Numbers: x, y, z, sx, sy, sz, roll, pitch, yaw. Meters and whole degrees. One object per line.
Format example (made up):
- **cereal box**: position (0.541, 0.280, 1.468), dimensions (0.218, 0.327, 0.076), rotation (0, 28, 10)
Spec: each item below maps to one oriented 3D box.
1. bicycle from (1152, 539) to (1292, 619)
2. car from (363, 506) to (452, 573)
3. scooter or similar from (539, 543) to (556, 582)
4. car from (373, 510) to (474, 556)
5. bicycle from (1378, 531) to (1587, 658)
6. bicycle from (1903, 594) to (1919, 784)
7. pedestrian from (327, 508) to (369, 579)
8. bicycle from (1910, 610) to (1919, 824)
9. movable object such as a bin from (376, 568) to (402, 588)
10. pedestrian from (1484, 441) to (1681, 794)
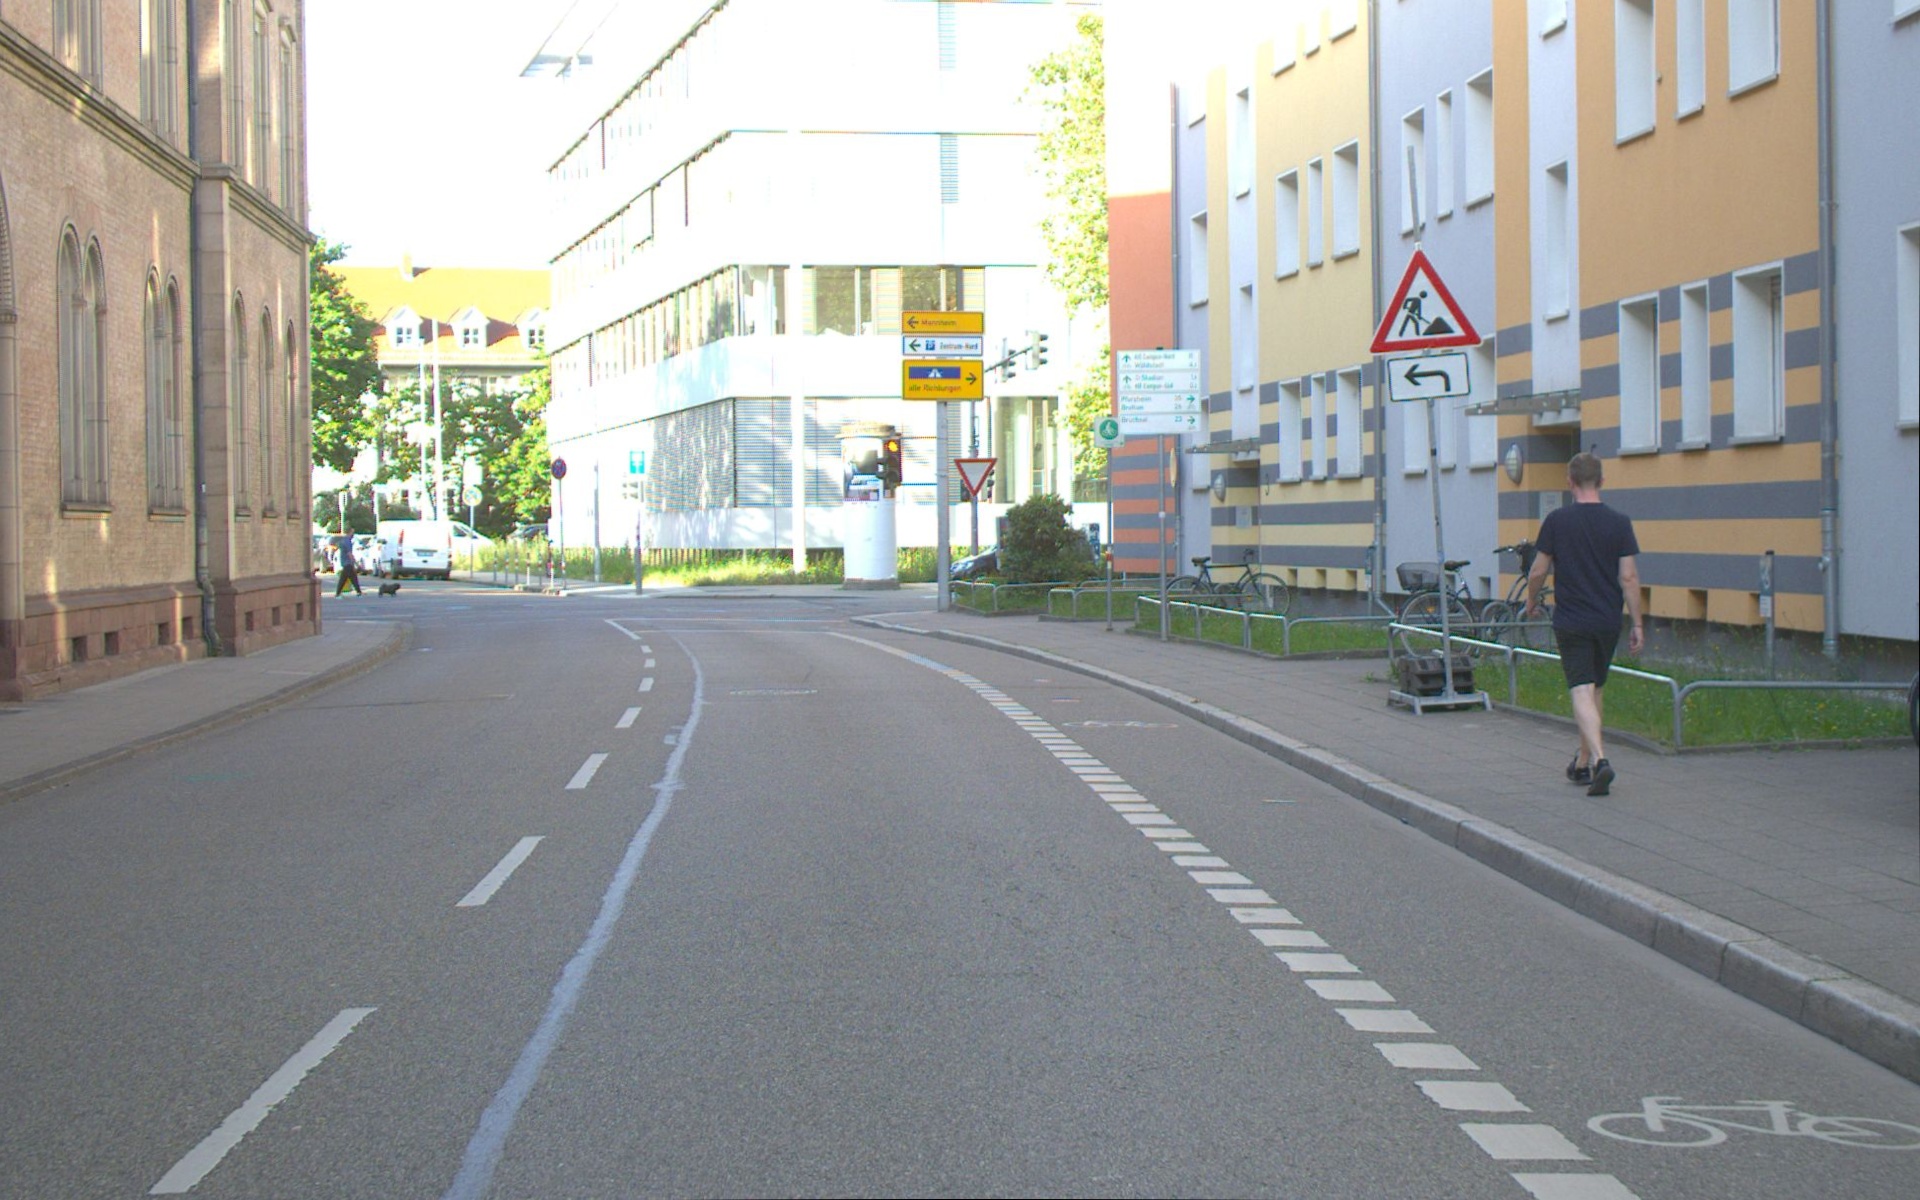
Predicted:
- **bicycle**: position (3.489, -0.281, 45.859), dimensions (1.753, 1.000, 0.613), rotation (-2, 1, -7)
- **car**: position (-18.295, -1.979, 113.663), dimensions (2.423, 2.104, 5.233), rotation (1, 0, -14)
- **scooter or similar**: position (-11.337, -1.044, 94.534), dimensions (0.325, 1.056, 1.143), rotation (-1, 1, -14)
- **car**: position (-23.597, -2.943, 151.124), dimensions (3.986, 1.908, 1.920), rotation (1, 0, -25)
- **bicycle**: position (4.801, -0.057, 31.632), dimensions (1.810, 1.133, 0.552), rotation (-1, 1, -4)
- **bicycle**: position (5.644, 0.422, 17.201), dimensions (1.748, 0.943, 0.335), rotation (-1, 1, -2)
- **pedestrian**: position (-15.225, -1.407, 85.536), dimensions (0.926, 1.753, 0.848), rotation (1, 0, -15)
- **bicycle**: position (5.104, 0.499, 14.992), dimensions (1.748, 0.943, 0.552), rotation (-1, 1, -2)
- **movable object such as a bin**: position (-14.255, -0.542, 85.819), dimensions (0.589, 0.479, 0.286), rotation (-1, 1, -18)
- **pedestrian**: position (3.242, 0.074, 17.989), dimensions (0.696, 1.754, 1.189), rotation (-3, 1, -2)
